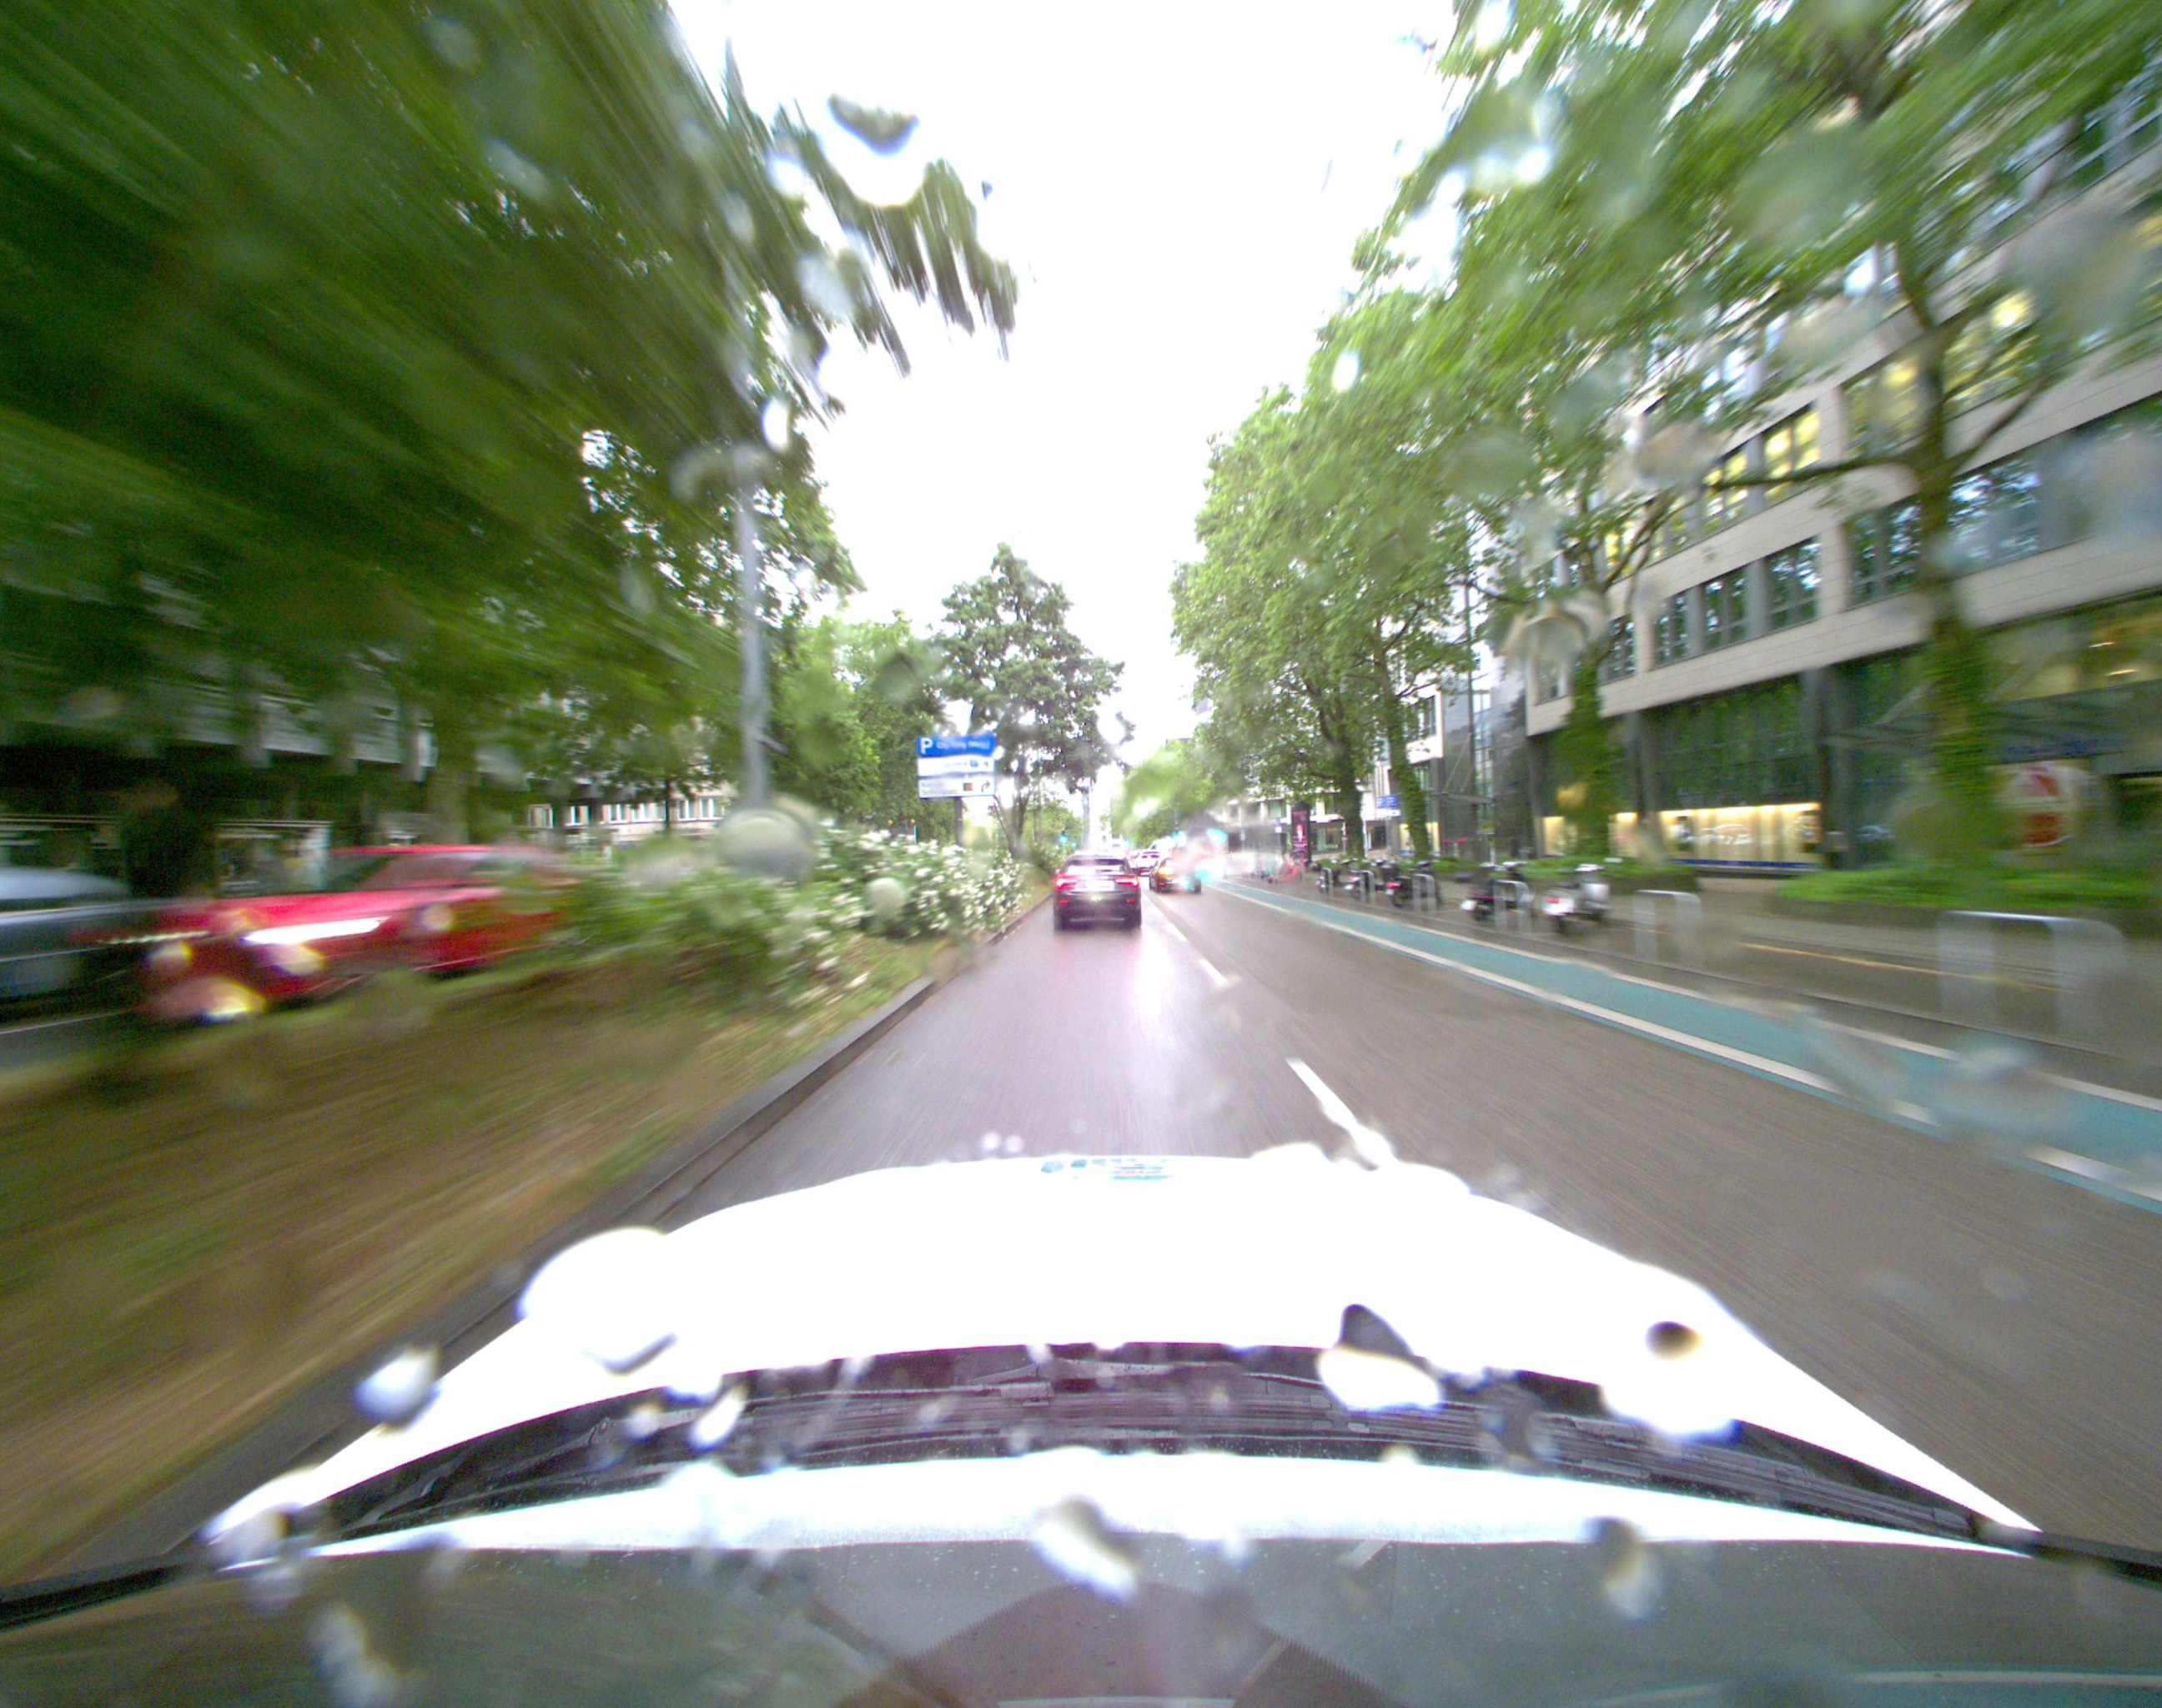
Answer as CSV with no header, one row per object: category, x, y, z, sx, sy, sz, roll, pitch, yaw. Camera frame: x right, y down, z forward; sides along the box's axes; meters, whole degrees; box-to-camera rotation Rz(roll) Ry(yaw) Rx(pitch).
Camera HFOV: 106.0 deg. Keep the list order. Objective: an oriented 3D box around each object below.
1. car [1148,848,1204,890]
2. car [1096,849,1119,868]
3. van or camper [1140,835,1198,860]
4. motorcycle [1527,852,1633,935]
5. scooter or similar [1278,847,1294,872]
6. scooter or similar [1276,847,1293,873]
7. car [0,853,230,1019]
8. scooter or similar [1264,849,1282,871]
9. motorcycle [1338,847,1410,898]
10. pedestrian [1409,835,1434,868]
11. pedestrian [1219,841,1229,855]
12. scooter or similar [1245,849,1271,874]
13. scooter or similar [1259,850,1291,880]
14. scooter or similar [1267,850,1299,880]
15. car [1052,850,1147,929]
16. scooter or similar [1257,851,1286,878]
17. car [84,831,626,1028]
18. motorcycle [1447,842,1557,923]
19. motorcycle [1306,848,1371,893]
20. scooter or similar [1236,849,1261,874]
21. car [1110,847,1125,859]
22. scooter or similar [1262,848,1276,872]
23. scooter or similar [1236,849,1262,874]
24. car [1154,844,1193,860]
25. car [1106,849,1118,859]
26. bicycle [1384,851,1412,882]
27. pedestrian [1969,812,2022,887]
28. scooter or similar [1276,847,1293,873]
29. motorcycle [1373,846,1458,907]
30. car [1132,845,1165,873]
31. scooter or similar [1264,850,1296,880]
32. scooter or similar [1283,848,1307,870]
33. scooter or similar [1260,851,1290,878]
car,3.731,0.559,32.507,1.843,1.523,4.040,-1,0,1
car,2.186,0.354,67.042,1.843,1.523,4.040,-1,0,1
van or camper,9.808,-0.714,90.644,6.008,2.558,2.118,-2,0,28
motorcycle,8.529,0.644,13.888,2.069,1.212,0.677,-4,0,-34
scooter or similar,10.817,0.291,42.912,0.486,1.259,1.294,-3,2,2
scooter or similar,10.405,0.290,41.687,0.486,1.259,1.294,-3,2,2
car,-10.240,0.776,6.628,1.721,1.428,4.499,-4,0,2
scooter or similar,10.719,0.311,45.476,0.487,1.198,1.290,-2,-1,-8
motorcycle,8.662,0.524,24.084,1.962,1.373,0.724,-4,2,-20
pedestrian,19.747,-0.151,47.214,0.914,1.850,1.277,-1,-1,0
pedestrian,16.974,-0.706,96.604,0.803,1.696,1.186,-1,0,-4
scooter or similar,9.449,0.388,43.473,1.280,1.259,0.491,-3,2,13
scooter or similar,8.988,0.504,37.676,1.289,1.278,0.535,-3,2,-10
scooter or similar,9.047,0.495,36.546,1.283,1.278,0.538,-3,2,5
car,0.400,0.698,18.120,1.843,1.523,4.039,-1,0,1
scooter or similar,9.487,0.516,40.551,1.284,1.235,0.490,-3,2,3
car,-6.886,0.589,8.503,1.721,1.428,4.192,-4,0,2
motorcycle,8.404,0.531,16.258,2.061,1.428,0.724,-4,2,-20
motorcycle,8.636,0.541,27.351,1.959,1.373,0.725,-4,2,-15
scooter or similar,9.184,0.400,44.622,1.280,1.259,0.491,-3,2,13
car,4.962,-0.134,110.779,1.843,1.523,4.040,-1,0,1
scooter or similar,10.293,0.313,44.626,0.486,1.259,1.294,-3,2,2
scooter or similar,9.091,0.398,44.012,1.280,1.259,0.491,-3,2,13
car,9.606,-0.219,84.477,3.618,1.547,1.723,-1,0,20
car,4.761,-0.056,125.046,1.843,1.523,4.040,-1,0,1
bicycle,10.991,0.414,28.186,0.631,1.028,1.774,-1,0,30
pedestrian,21.416,-0.107,19.089,0.720,1.693,0.833,-2,1,44
scooter or similar,10.405,0.290,41.687,0.486,1.259,1.294,-3,2,2
motorcycle,8.484,0.550,20.653,1.962,1.373,0.724,-4,2,-20
car,4.277,0.322,52.202,1.843,1.669,4.040,-1,0,1
scooter or similar,9.043,0.498,36.990,1.283,1.278,0.538,-3,2,5
scooter or similar,11.880,0.290,45.233,0.490,1.198,1.281,-1,-1,-29
scooter or similar,9.469,0.511,39.806,1.284,1.235,0.490,-3,2,3
